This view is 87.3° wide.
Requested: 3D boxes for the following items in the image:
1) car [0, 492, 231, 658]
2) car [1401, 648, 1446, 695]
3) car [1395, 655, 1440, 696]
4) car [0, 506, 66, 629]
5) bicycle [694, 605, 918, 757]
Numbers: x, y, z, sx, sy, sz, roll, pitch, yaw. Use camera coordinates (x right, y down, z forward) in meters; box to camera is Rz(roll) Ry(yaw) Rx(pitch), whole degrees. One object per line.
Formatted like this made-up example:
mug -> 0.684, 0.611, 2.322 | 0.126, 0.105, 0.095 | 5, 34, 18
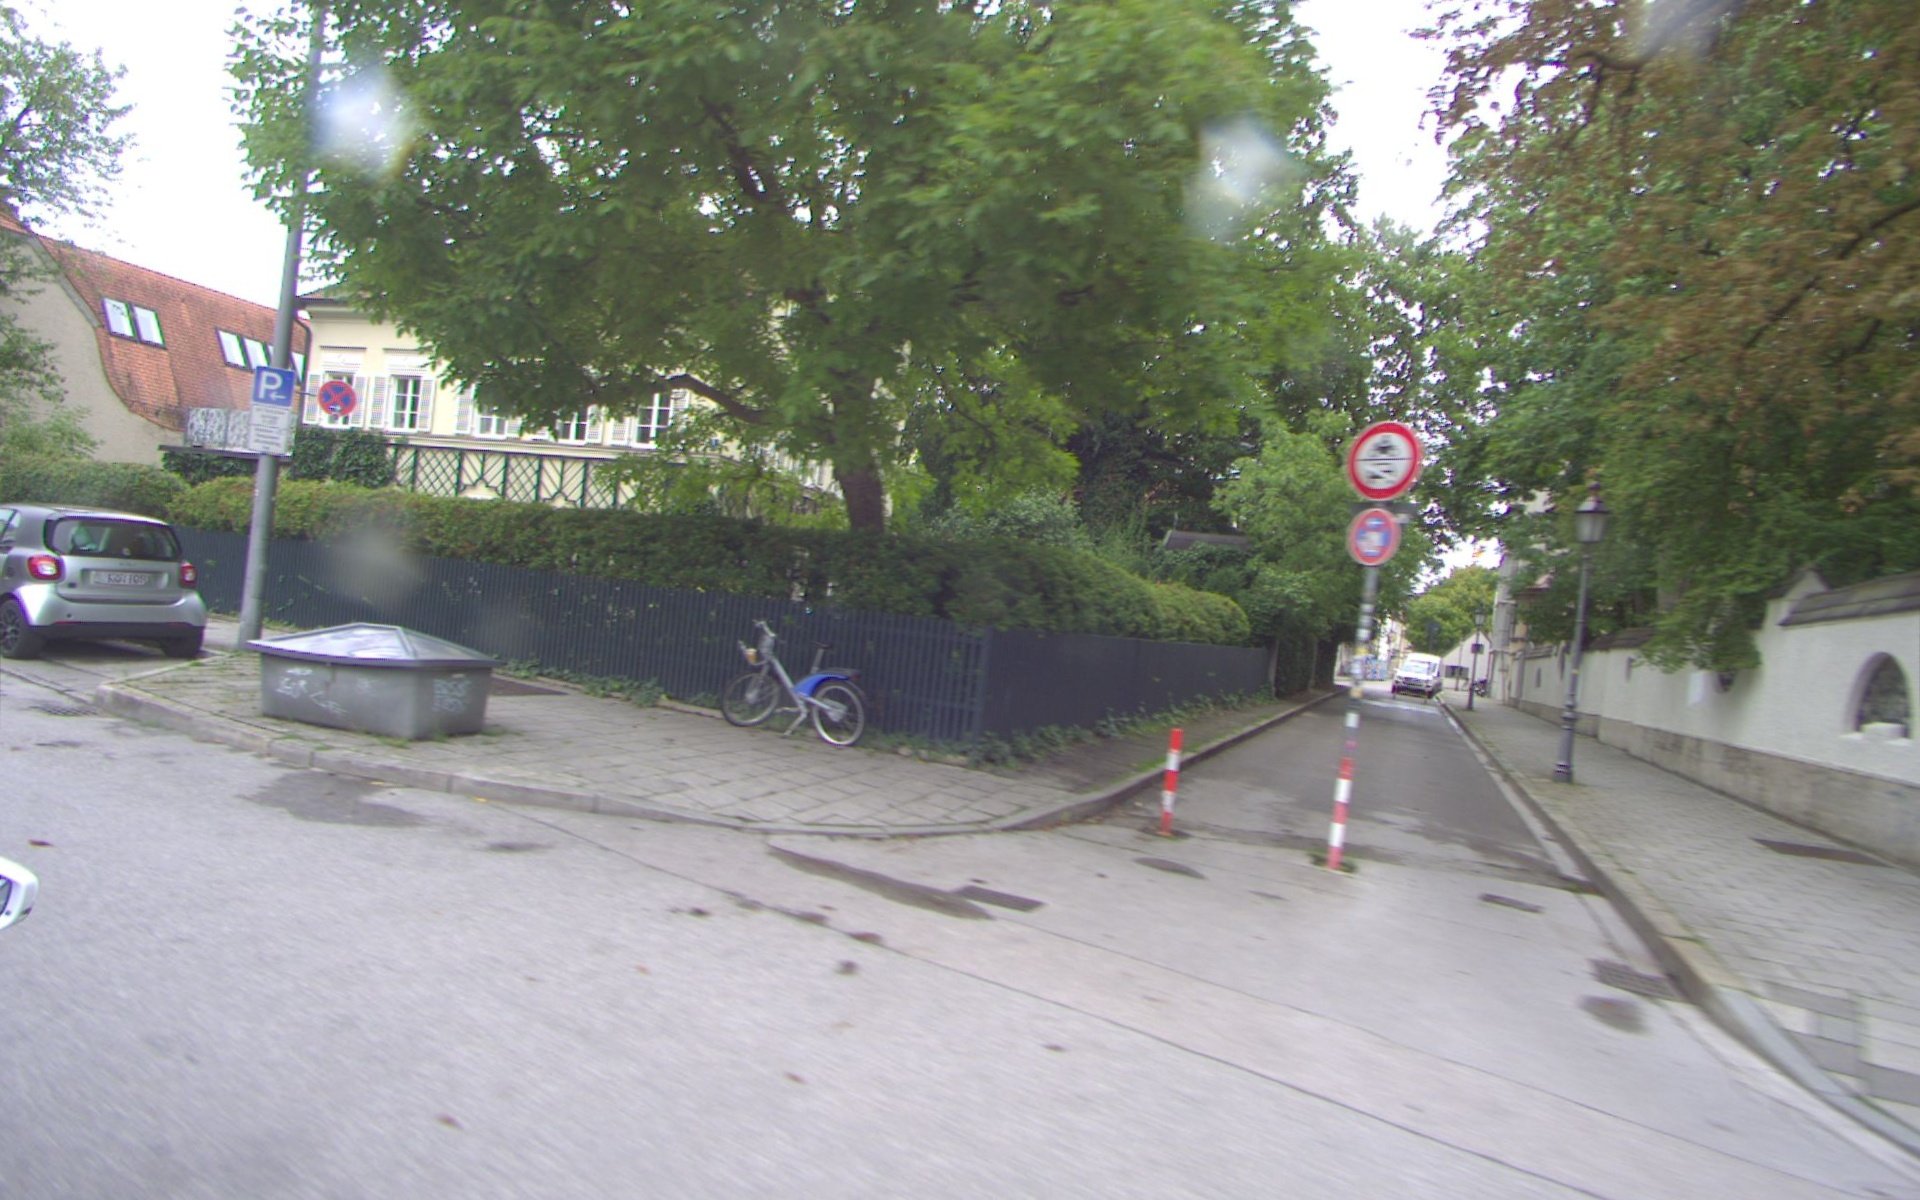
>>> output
car -> -9.824, -0.312, 10.975 | 2.893, 1.556, 1.743 | 5, 1, 24
car -> 29.031, 4.456, 62.852 | 2.008, 2.486, 7.625 | 6, -1, 27
car -> 24.069, 3.949, 52.993 | 1.896, 1.814, 4.410 | 6, -1, 25
car -> -13.541, -0.597, 12.613 | 4.146, 1.445, 1.881 | 6, 1, 24
bicycle -> -1.511, 0.756, 9.824 | 1.938, 1.176, 0.808 | 7, 0, 26
